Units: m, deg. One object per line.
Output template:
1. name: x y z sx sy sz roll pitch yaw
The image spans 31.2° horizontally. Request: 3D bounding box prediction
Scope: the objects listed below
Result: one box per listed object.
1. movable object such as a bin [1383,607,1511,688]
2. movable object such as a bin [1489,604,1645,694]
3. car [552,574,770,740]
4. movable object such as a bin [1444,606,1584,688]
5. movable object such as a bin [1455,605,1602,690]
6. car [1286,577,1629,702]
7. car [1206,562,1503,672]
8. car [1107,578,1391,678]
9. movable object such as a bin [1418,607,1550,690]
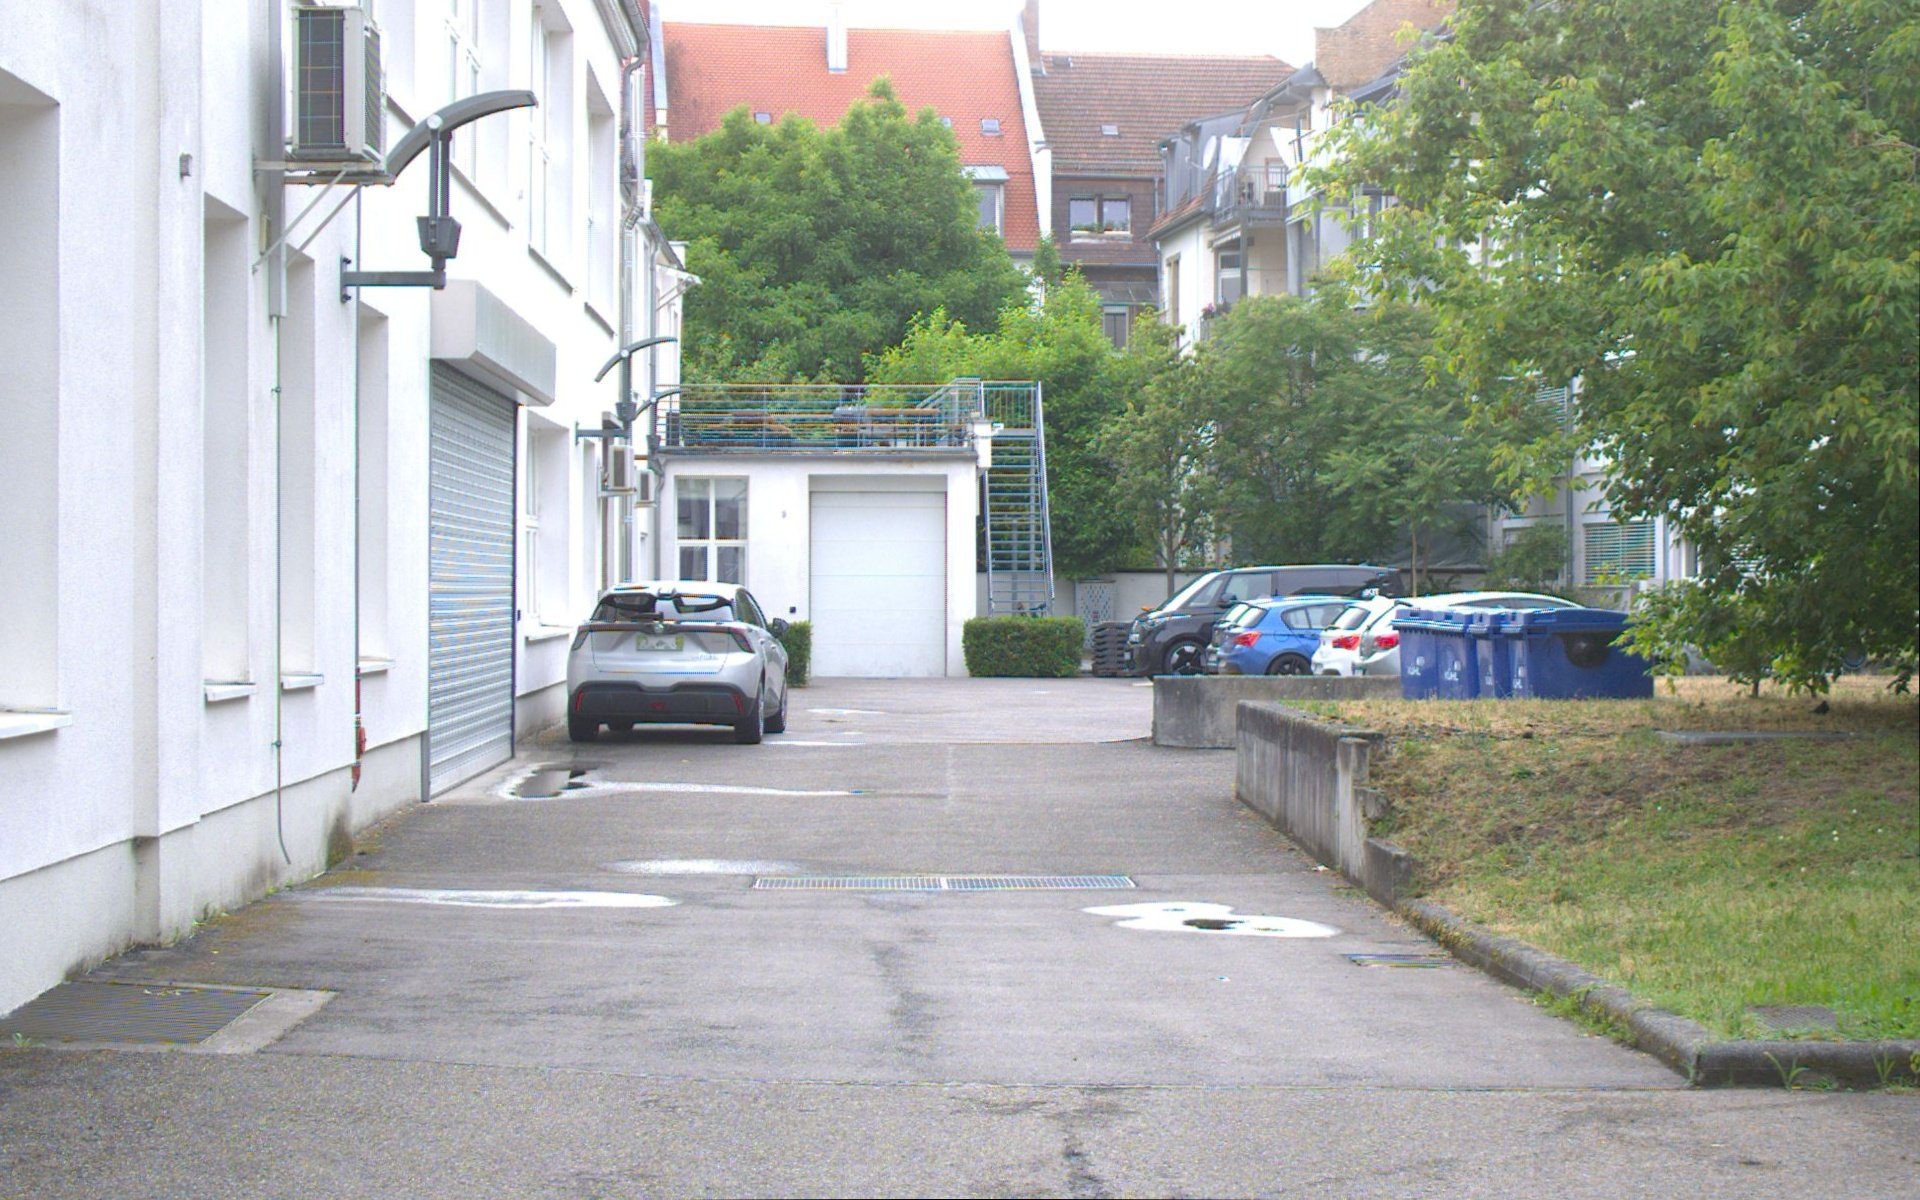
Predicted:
1. movable object such as a bin: 4.181 0.405 29.546 0.965 0.677 0.870 0 0 -1
2. movable object such as a bin: 4.410 0.353 25.035 0.965 0.634 0.911 0 0 -1
3. car: -2.844 0.536 33.440 1.847 1.503 4.000 0 0 -1
4. movable object such as a bin: 4.420 0.371 27.484 0.965 0.634 0.911 0 0 -1
5. movable object such as a bin: 4.344 0.362 26.326 0.965 0.634 0.911 0 0 -1
6. car: 6.498 0.496 45.082 3.986 1.568 2.001 0 1 -12
7. car: 5.726 0.235 50.006 3.986 1.568 1.586 0 1 -12
8. car: 4.662 0.444 55.720 4.181 1.568 2.001 0 1 -12
9. movable object such as a bin: 4.338 0.399 28.514 0.965 0.677 0.811 0 0 -1
